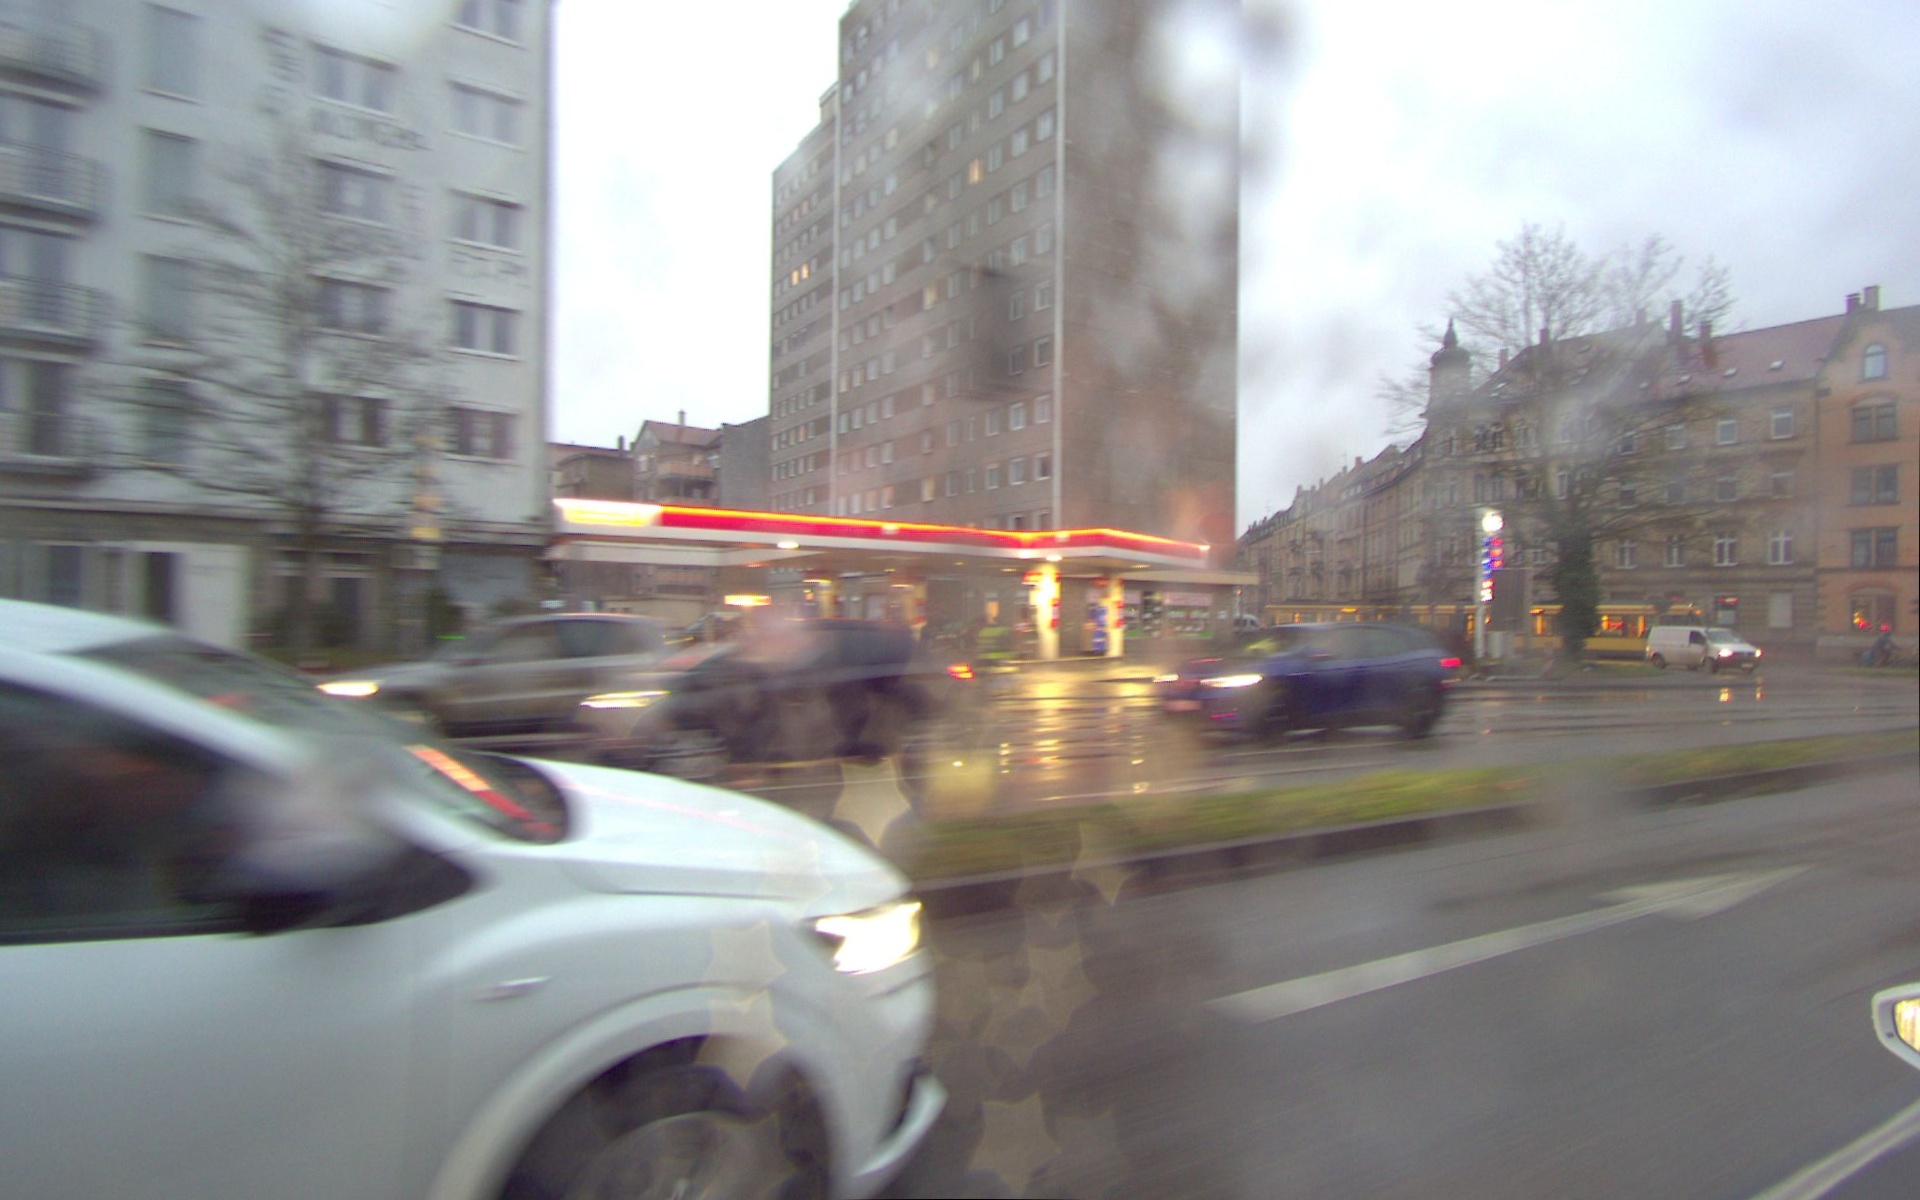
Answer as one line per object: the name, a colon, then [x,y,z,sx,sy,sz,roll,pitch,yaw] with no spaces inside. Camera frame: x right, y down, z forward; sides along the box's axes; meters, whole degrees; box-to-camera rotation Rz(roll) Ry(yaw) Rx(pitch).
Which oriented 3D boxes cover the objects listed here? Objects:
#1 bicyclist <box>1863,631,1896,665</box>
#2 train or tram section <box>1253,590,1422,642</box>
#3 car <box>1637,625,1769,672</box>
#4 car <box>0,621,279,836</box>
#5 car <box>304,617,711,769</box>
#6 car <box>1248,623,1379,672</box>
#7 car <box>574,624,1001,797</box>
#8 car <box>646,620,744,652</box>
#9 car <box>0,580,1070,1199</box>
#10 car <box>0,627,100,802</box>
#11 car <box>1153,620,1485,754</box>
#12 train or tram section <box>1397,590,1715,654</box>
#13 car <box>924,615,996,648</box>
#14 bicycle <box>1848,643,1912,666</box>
bicyclist: [39.354,2.043,42.994,0.952,1.409,0.505,1,0,33]
train or tram section: [26.080,0.994,70.126,3.142,3.280,11.026,1,0,-38]
car: [33.110,2.173,44.990,1.962,1.971,4.852,0,-3,-6]
car: [-7.599,0.915,7.514,3.950,1.506,1.639,1,-1,-28]
car: [-5.326,1.009,12.181,4.226,1.587,1.639,1,-1,-28]
car: [12.086,1.579,34.548,1.762,1.550,3.960,1,-2,-36]
car: [-1.735,1.004,10.440,4.092,1.506,1.639,1,-1,-28]
car: [-12.218,1.667,46.393,3.957,1.399,1.944,2,-1,-33]
car: [-1.844,0.738,2.088,3.952,1.506,1.619,1,-1,-30]
car: [-10.186,0.992,8.621,3.950,1.506,1.639,1,-1,-28]
car: [5.077,1.113,14.097,4.597,1.652,1.640,1,-1,-26]
train or tram section: [34.492,1.110,59.513,3.142,3.231,16.126,1,0,-38]
car: [-0.046,1.591,52.037,1.978,1.550,3.965,1,0,-32]
bicycle: [39.346,2.337,42.997,1.951,0.912,0.505,1,0,33]
